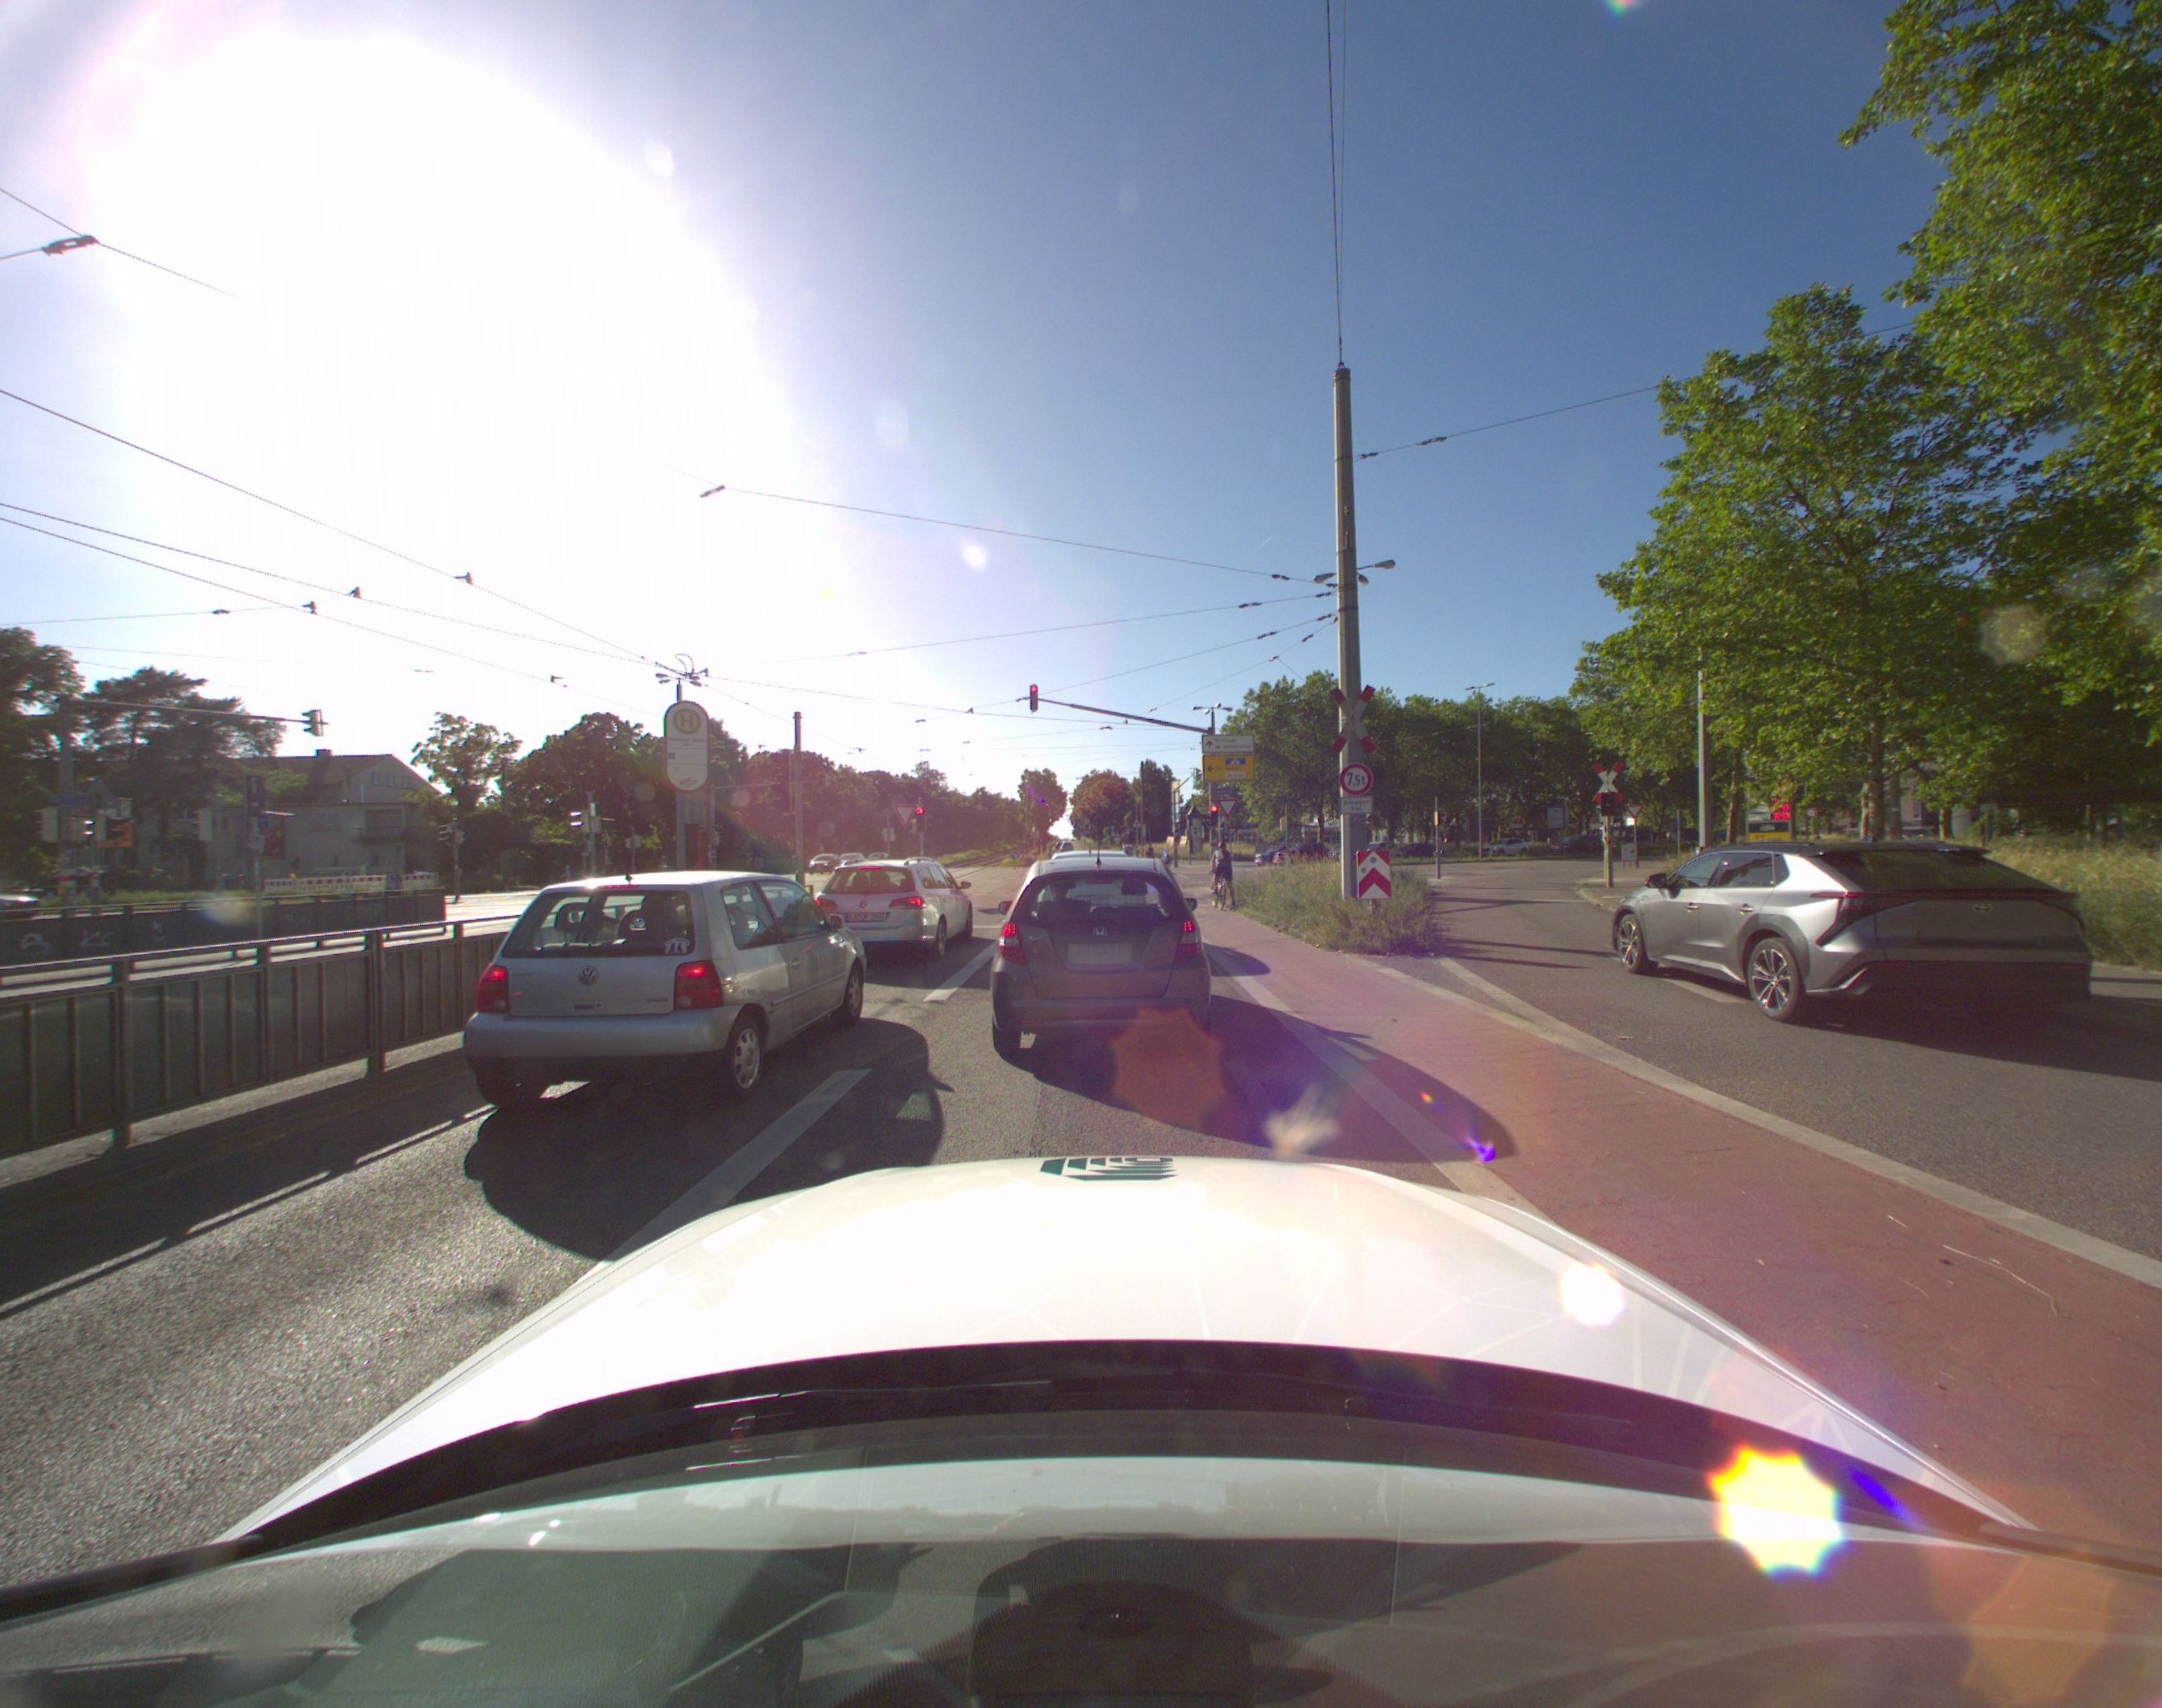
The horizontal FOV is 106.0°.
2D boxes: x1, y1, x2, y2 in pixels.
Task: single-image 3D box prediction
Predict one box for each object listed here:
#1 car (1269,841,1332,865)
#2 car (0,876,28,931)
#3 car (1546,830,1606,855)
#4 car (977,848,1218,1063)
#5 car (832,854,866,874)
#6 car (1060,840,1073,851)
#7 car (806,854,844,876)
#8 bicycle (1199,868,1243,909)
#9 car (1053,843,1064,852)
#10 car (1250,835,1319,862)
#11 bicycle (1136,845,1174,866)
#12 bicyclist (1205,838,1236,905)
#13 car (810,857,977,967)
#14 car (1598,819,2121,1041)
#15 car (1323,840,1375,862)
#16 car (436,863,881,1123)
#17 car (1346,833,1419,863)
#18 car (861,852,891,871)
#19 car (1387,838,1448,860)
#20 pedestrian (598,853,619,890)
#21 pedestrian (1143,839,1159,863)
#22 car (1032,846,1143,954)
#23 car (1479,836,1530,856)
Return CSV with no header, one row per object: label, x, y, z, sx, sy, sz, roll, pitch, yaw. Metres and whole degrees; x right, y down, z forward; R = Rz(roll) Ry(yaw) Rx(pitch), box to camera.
car,15.013,-0.088,55.788,4.002,1.531,1.594,-2,0,-22
car,-32.029,1.432,21.491,4.844,1.497,1.771,-2,0,-25
car,38.104,-0.896,62.716,4.218,1.774,1.842,-2,0,-23
car,0.106,0.703,7.487,1.663,1.462,3.585,-1,0,-1
car,-18.920,0.812,66.493,1.829,1.548,4.277,-2,0,-5
car,-2.052,-1.128,114.685,1.706,1.478,3.996,-2,0,-3
car,-19.022,0.803,60.700,1.829,1.548,3.993,-2,0,-5
bicycle,3.629,0.862,21.298,0.719,0.989,2.876,0,0,1
car,-3.706,-1.123,134.031,1.520,1.378,3.669,-2,0,-5
car,15.024,-0.378,60.080,4.705,1.879,1.986,0,-1,-22
bicycle,5.698,0.113,62.482,3.230,1.574,0.812,-2,0,-38
bicyclist,3.628,0.456,21.220,0.663,1.716,0.948,0,-1,1
car,-2.781,0.794,12.977,1.613,1.457,4.086,-1,0,1
car,7.227,0.561,8.356,1.754,1.630,4.513,-2,0,12
car,20.650,-0.201,62.718,3.757,1.570,1.480,-2,0,-21
car,-2.831,0.812,6.330,1.613,1.417,3.352,-2,0,1
car,21.952,-0.449,59.245,4.906,2.013,1.986,-2,0,-22
car,-18.787,0.667,74.749,1.991,1.604,4.745,0,0,-6
car,26.880,-0.413,65.047,4.526,1.574,1.681,-2,0,-21
pedestrian,-26.350,0.984,45.404,0.748,2.013,0.788,-2,0,-11
pedestrian,5.356,-0.239,62.203,0.859,1.836,0.782,-2,0,-39
car,0.143,0.675,14.127,1.605,1.562,4.289,-1,0,1
car,35.890,-0.682,69.019,4.004,1.501,1.581,-2,0,-23
